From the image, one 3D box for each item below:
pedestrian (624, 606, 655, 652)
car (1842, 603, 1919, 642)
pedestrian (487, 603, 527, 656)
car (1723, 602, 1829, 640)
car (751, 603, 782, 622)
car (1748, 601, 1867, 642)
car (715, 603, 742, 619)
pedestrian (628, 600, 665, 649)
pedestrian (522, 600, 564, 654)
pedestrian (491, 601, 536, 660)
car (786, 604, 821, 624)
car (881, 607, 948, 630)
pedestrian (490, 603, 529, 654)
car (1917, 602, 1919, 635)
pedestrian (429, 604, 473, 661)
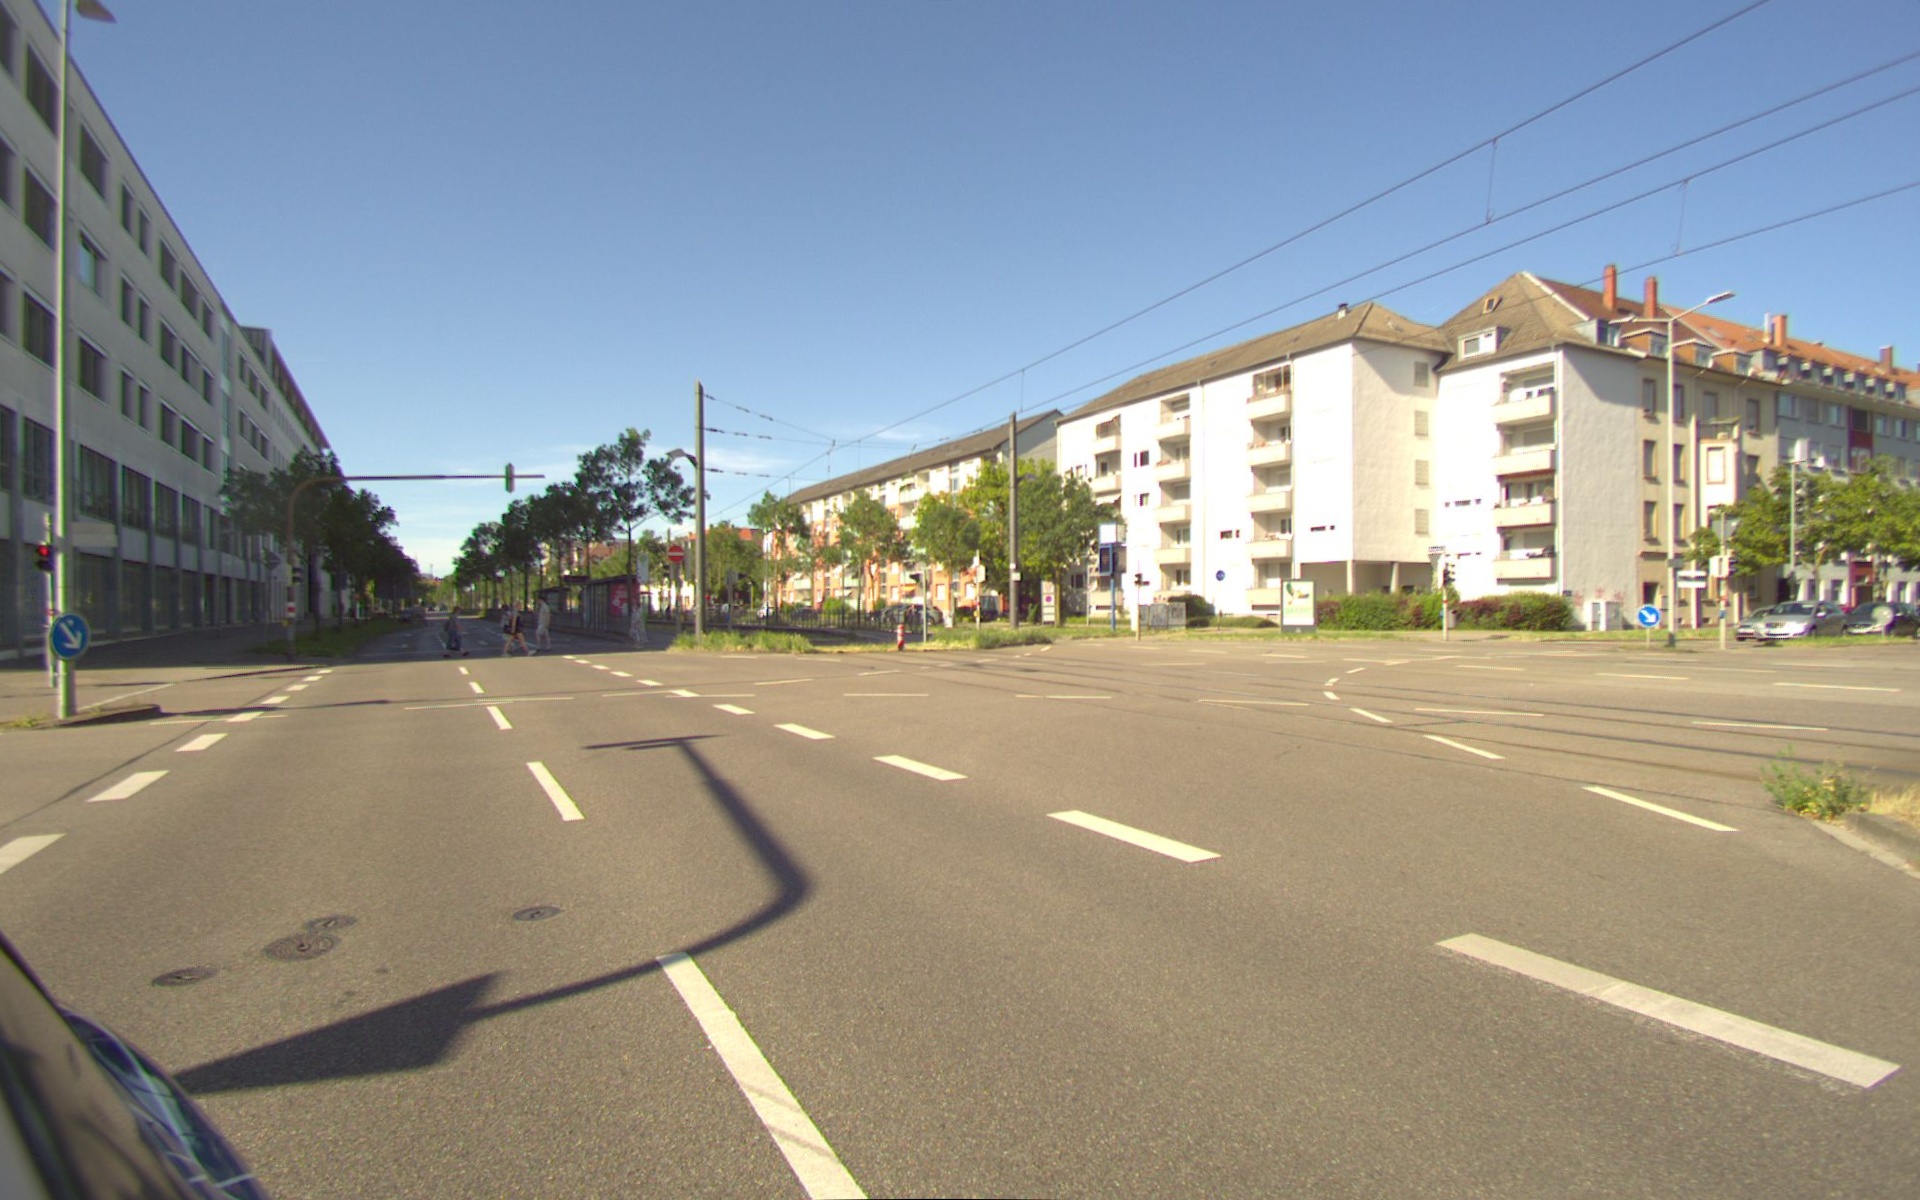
[{"bbox_3d":[-11.066,0.994,34.939,0.844,1.545,0.728,0,-1,-33],"label":"pedestrian"},{"bbox_3d":[38.058,0.888,41.096,4.323,1.442,1.699,0,1,-24],"label":"car"},{"bbox_3d":[-15.396,0.992,34.389,1.135,1.740,0.815,0,-1,-33],"label":"pedestrian"},{"bbox_3d":[33.780,0.850,41.899,4.323,1.442,1.699,0,1,-26],"label":"car"},{"bbox_3d":[-19.992,1.310,104.577,1.966,1.863,4.012,0,-1,-30],"label":"car"},{"bbox_3d":[32.021,0.782,38.233,4.323,1.442,1.699,0,1,-24],"label":"car"},{"bbox_3d":[-27.052,1.317,118.083,1.966,1.863,4.012,0,-1,-30],"label":"car"},{"bbox_3d":[-11.245,0.877,36.335,0.805,1.740,1.149,-1,-1,13],"label":"pedestrian"},{"bbox_3d":[-14.002,0.896,33.992,1.135,1.784,0.926,0,-1,-33],"label":"pedestrian"},{"bbox_3d":[-13.541,0.920,30.668,1.135,1.740,0.815,0,-1,-33],"label":"pedestrian"},{"bbox_3d":[-14.745,1.307,95.396,1.966,1.863,4.012,0,-1,-30],"label":"car"},{"bbox_3d":[-3.134,1.265,69.643,4.352,1.442,1.688,1,1,11],"label":"car"},{"bbox_3d":[-15.732,0.983,35.361,1.135,1.740,0.815,0,-1,-33],"label":"pedestrian"},{"bbox_3d":[43.451,0.828,43.655,4.323,1.442,1.699,0,1,-26],"label":"car"},{"bbox_3d":[-15.819,1.004,31.465,1.135,1.740,0.815,0,-1,-33],"label":"pedestrian"}]
